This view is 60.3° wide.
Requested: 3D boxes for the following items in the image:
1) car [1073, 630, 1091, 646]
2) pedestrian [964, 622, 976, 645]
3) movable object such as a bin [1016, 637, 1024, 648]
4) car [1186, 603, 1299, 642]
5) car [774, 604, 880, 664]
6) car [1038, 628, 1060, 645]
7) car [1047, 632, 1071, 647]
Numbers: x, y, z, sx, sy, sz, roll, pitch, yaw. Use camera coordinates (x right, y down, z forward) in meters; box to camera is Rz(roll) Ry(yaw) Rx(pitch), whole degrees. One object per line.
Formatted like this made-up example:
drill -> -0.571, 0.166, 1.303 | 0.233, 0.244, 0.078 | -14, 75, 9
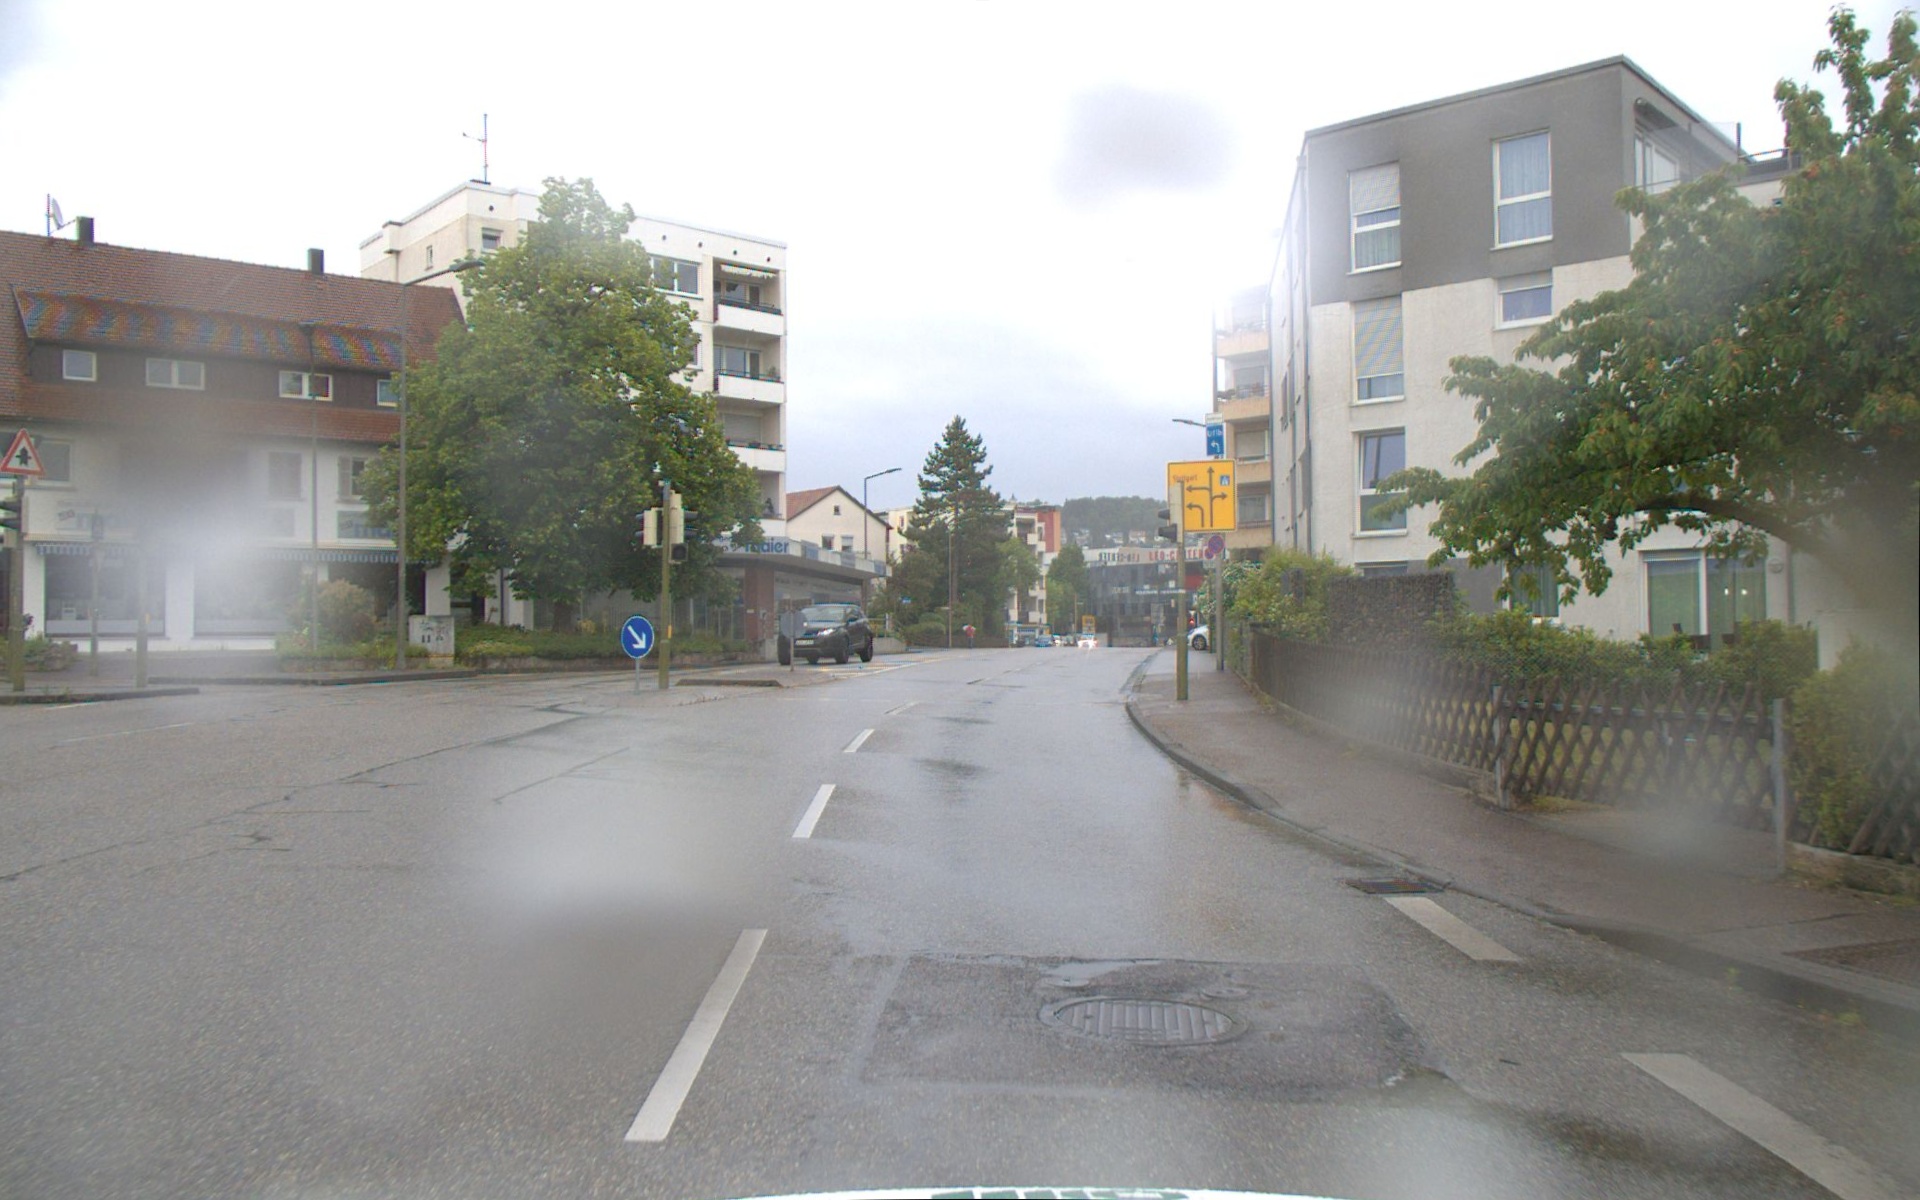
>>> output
car -> 12.449, 3.849, 168.791 | 1.662, 1.433, 4.003 | -3, -1, 6
pedestrian -> 0.694, 2.354, 116.649 | 0.851, 1.635, 1.103 | 0, -2, 1
movable object such as a bin -> 5.685, 4.023, 156.161 | 0.634, 0.983, 0.683 | -1, -2, 10
car -> 11.567, 0.903, 67.879 | 4.186, 1.520, 1.865 | 0, 0, 37
car -> -3.621, 0.903, 45.865 | 1.764, 1.584, 4.322 | 0, 0, 12
car -> 8.606, 3.526, 159.927 | 1.616, 1.548, 4.327 | -1, -2, 11
car -> 10.232, 4.095, 171.247 | 1.893, 1.569, 4.524 | -1, -2, 11
